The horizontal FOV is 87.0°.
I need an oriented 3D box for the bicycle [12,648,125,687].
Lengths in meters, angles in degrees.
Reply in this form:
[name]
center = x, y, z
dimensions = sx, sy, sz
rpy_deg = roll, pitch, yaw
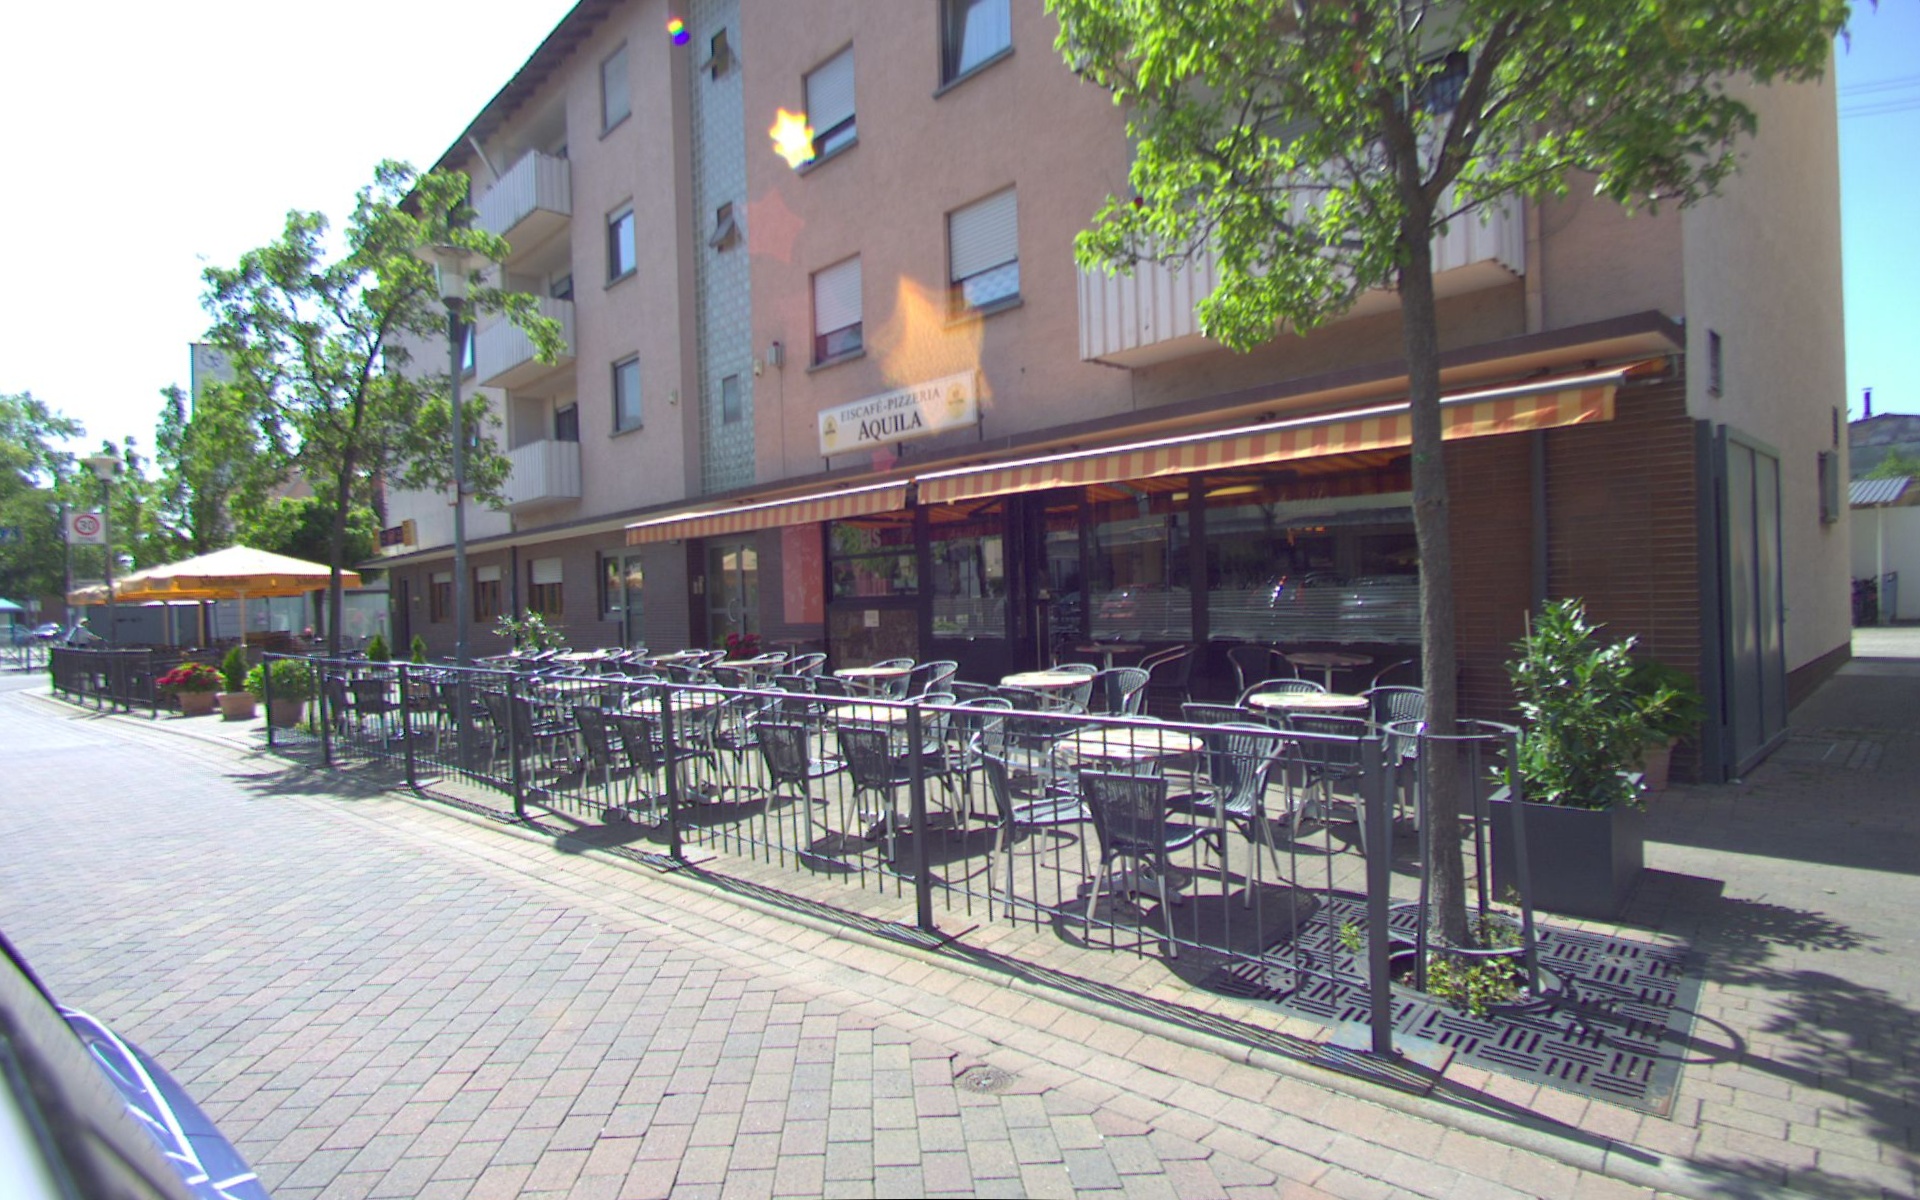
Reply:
[bicycle]
center = -25.307, 1.896, 28.773
dimensions = 0.775, 0.932, 2.312
rpy_deg = -2, 0, 41

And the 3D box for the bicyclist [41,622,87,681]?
[bicyclist]
center = -25.384, 1.443, 28.671
dimensions = 0.787, 1.589, 0.849
rpy_deg = -2, 0, 39

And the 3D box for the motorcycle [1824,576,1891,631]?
[motorcycle]
center = 19.297, 0.064, 21.747
dimensions = 2.187, 1.117, 0.810
rpy_deg = -1, -1, -42
